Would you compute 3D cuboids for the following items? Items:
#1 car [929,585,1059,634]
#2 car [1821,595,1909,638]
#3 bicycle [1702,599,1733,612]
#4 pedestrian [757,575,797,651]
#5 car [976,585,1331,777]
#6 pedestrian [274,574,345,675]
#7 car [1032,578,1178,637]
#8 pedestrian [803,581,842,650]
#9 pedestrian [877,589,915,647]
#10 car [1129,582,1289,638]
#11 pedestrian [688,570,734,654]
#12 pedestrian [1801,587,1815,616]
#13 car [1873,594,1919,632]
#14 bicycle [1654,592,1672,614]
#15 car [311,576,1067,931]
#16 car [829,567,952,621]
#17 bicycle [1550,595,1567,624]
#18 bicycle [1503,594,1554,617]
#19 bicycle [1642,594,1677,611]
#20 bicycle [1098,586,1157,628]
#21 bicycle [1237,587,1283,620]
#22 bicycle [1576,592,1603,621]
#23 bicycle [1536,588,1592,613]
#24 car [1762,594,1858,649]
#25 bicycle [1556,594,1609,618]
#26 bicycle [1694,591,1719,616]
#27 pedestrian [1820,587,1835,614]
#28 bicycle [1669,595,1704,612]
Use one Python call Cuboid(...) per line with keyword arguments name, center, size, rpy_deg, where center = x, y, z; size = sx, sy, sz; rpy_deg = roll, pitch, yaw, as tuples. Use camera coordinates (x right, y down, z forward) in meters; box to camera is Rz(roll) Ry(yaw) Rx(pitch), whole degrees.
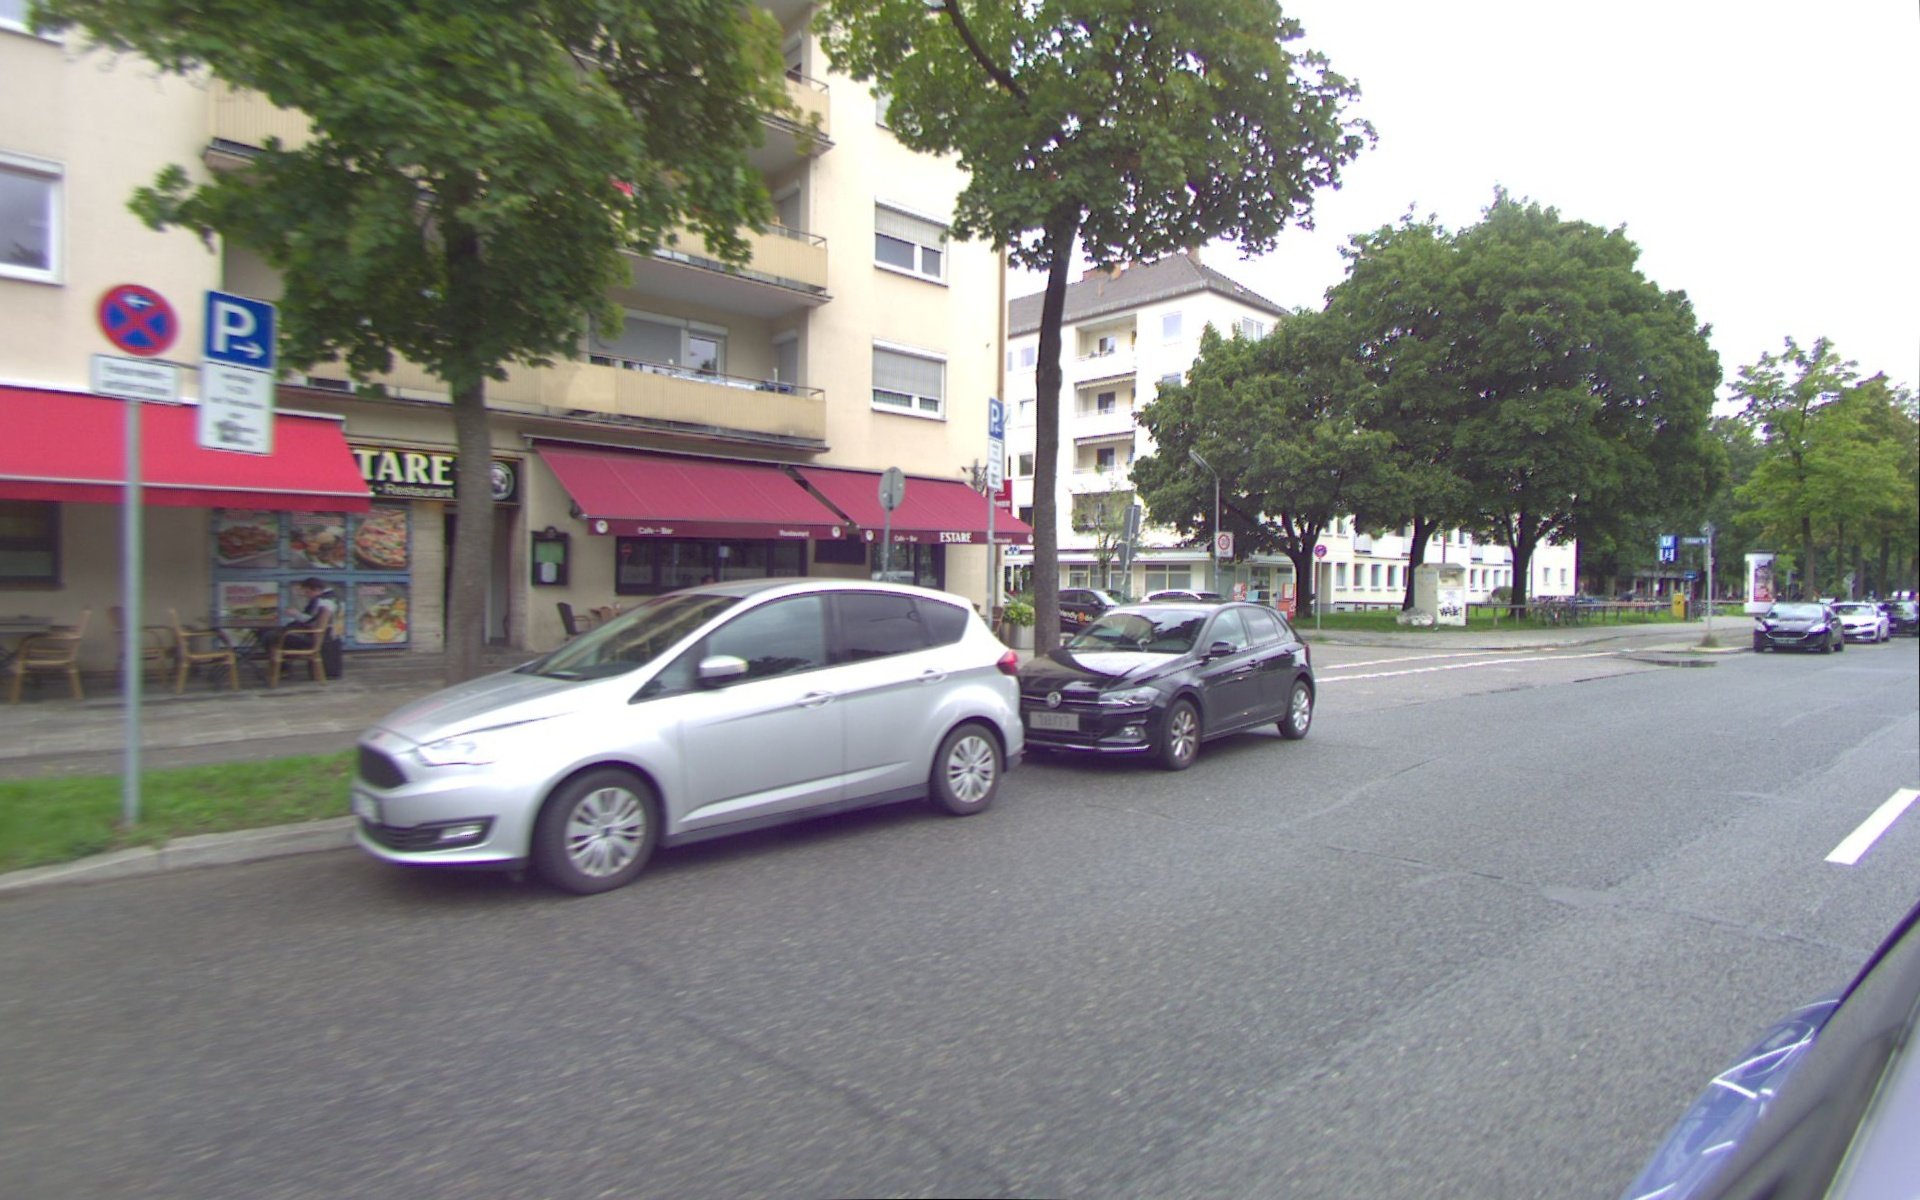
Cuboid(name="car", center=(1.038, 0.260, 32.478), size=(1.966, 1.460, 3.993), rpy_deg=(0, 1, -42))
Cuboid(name="car", center=(32.472, 0.559, 36.281), size=(4.212, 1.455, 1.824), rpy_deg=(0, -1, -41))
Cuboid(name="bicycle", center=(45.952, 0.316, 61.403), size=(0.490, 0.722, 1.389), rpy_deg=(0, 3, -45))
Cuboid(name="pedestrian", center=(-3.181, 0.213, 17.577), size=(0.478, 1.284, 0.539), rpy_deg=(0, 1, -42))
Cuboid(name="car", center=(2.065, 0.614, 9.996), size=(1.827, 1.491, 3.832), rpy_deg=(1, 1, 40))
Cuboid(name="pedestrian", center=(-8.035, 0.285, 12.496), size=(0.635, 1.177, 0.745), rpy_deg=(0, 3, -41))
Cuboid(name="car", center=(4.052, 0.167, 28.729), size=(1.701, 1.538, 3.931), rpy_deg=(0, 1, -42))
Cuboid(name="pedestrian", center=(-2.474, 0.271, 18.243), size=(0.478, 1.229, 0.539), rpy_deg=(0, 1, -40))
Cuboid(name="pedestrian", center=(-1.214, 0.336, 19.128), size=(0.478, 1.067, 0.539), rpy_deg=(0, 1, -40))
Cuboid(name="car", center=(7.165, 0.238, 29.473), size=(1.963, 1.460, 4.220), rpy_deg=(0, 1, -37))
Cuboid(name="pedestrian", center=(-4.148, 0.188, 16.867), size=(0.543, 1.356, 0.539), rpy_deg=(0, 1, -42))
Cuboid(name="pedestrian", center=(52.469, 0.073, 62.635), size=(0.555, 1.778, 0.651), rpy_deg=(1, 0, 30))
Cuboid(name="car", center=(39.981, 0.522, 42.613), size=(4.085, 1.530, 1.824), rpy_deg=(0, 1, -41))
Cuboid(name="bicycle", center=(36.621, 0.149, 52.683), size=(1.231, 1.130, 0.466), rpy_deg=(0, 1, -40))
Cuboid(name="car", center=(-1.452, 0.641, 6.604), size=(4.448, 1.541, 1.831), rpy_deg=(0, 1, -43))
Cuboid(name="car", center=(-2.674, -0.261, 37.864), size=(1.966, 1.909, 4.991), rpy_deg=(0, 1, -42))
Cuboid(name="bicycle", center=(22.042, 0.351, 37.275), size=(0.446, 1.028, 1.831), rpy_deg=(1, 1, 34))
Cuboid(name="bicycle", center=(27.479, 0.244, 48.925), size=(0.653, 1.081, 2.027), rpy_deg=(0, 1, -44))
Cuboid(name="bicycle", center=(39.890, 0.142, 57.735), size=(0.490, 0.927, 1.595), rpy_deg=(0, 1, -44))
Cuboid(name="bicycle", center=(4.247, 0.160, 25.744), size=(0.543, 1.023, 1.544), rpy_deg=(0, 1, -37))
Cuboid(name="bicycle", center=(10.925, 0.104, 36.910), size=(0.687, 1.170, 1.471), rpy_deg=(0, 1, -42))
Cuboid(name="bicycle", center=(24.360, 0.229, 39.173), size=(0.469, 1.068, 1.739), rpy_deg=(4, 4, 45))
Cuboid(name="bicycle", center=(26.868, 0.023, 45.034), size=(0.653, 1.081, 2.027), rpy_deg=(0, 1, -44))
Cuboid(name="car", center=(24.749, 0.584, 29.422), size=(3.888, 1.496, 1.646), rpy_deg=(0, 0, -42))
Cuboid(name="bicycle", center=(28.969, 0.256, 47.124), size=(0.653, 1.081, 2.027), rpy_deg=(0, 1, -44))
Cuboid(name="bicycle", center=(37.101, 0.179, 50.274), size=(2.039, 1.203, 0.545), rpy_deg=(0, 1, -40))
Cuboid(name="pedestrian", center=(53.168, 0.007, 62.024), size=(0.555, 1.625, 0.515), rpy_deg=(1, 0, 30))
Cuboid(name="bicycle", center=(42.205, 0.181, 58.805), size=(0.490, 0.927, 1.596), rpy_deg=(0, 2, -44))
